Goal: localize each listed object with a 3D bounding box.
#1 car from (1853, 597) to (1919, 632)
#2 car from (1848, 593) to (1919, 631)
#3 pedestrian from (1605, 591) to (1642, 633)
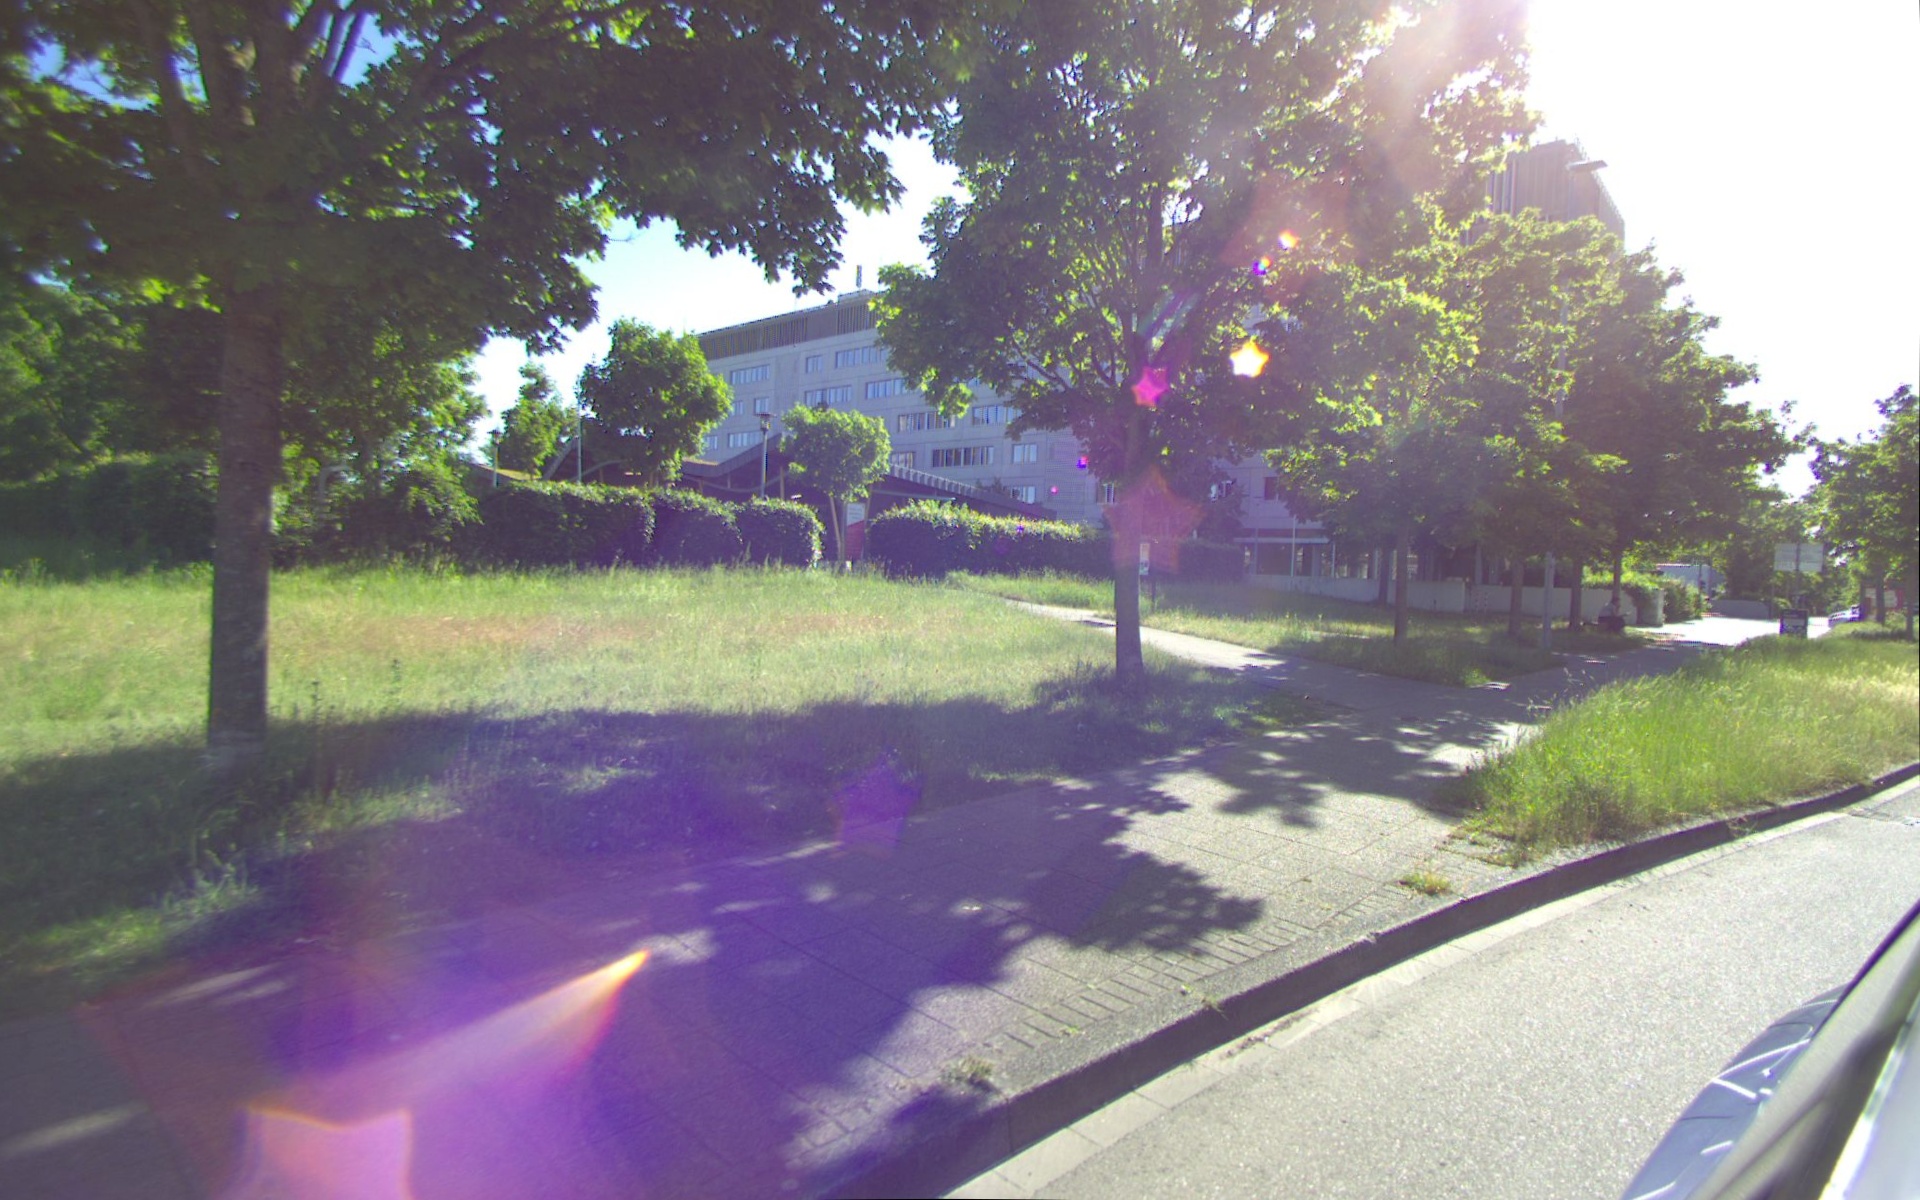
[{"bbox_3d":[45.555,0.749,48.257,4.403,1.481,1.866,5,3,43],"label":"car"},{"bbox_3d":[46.928,0.622,50.056,4.403,1.661,2.042,5,3,43],"label":"car"},{"bbox_3d":[20.605,0.362,31.440,0.840,1.232,0.721,4,3,30],"label":"pedestrian"}]
